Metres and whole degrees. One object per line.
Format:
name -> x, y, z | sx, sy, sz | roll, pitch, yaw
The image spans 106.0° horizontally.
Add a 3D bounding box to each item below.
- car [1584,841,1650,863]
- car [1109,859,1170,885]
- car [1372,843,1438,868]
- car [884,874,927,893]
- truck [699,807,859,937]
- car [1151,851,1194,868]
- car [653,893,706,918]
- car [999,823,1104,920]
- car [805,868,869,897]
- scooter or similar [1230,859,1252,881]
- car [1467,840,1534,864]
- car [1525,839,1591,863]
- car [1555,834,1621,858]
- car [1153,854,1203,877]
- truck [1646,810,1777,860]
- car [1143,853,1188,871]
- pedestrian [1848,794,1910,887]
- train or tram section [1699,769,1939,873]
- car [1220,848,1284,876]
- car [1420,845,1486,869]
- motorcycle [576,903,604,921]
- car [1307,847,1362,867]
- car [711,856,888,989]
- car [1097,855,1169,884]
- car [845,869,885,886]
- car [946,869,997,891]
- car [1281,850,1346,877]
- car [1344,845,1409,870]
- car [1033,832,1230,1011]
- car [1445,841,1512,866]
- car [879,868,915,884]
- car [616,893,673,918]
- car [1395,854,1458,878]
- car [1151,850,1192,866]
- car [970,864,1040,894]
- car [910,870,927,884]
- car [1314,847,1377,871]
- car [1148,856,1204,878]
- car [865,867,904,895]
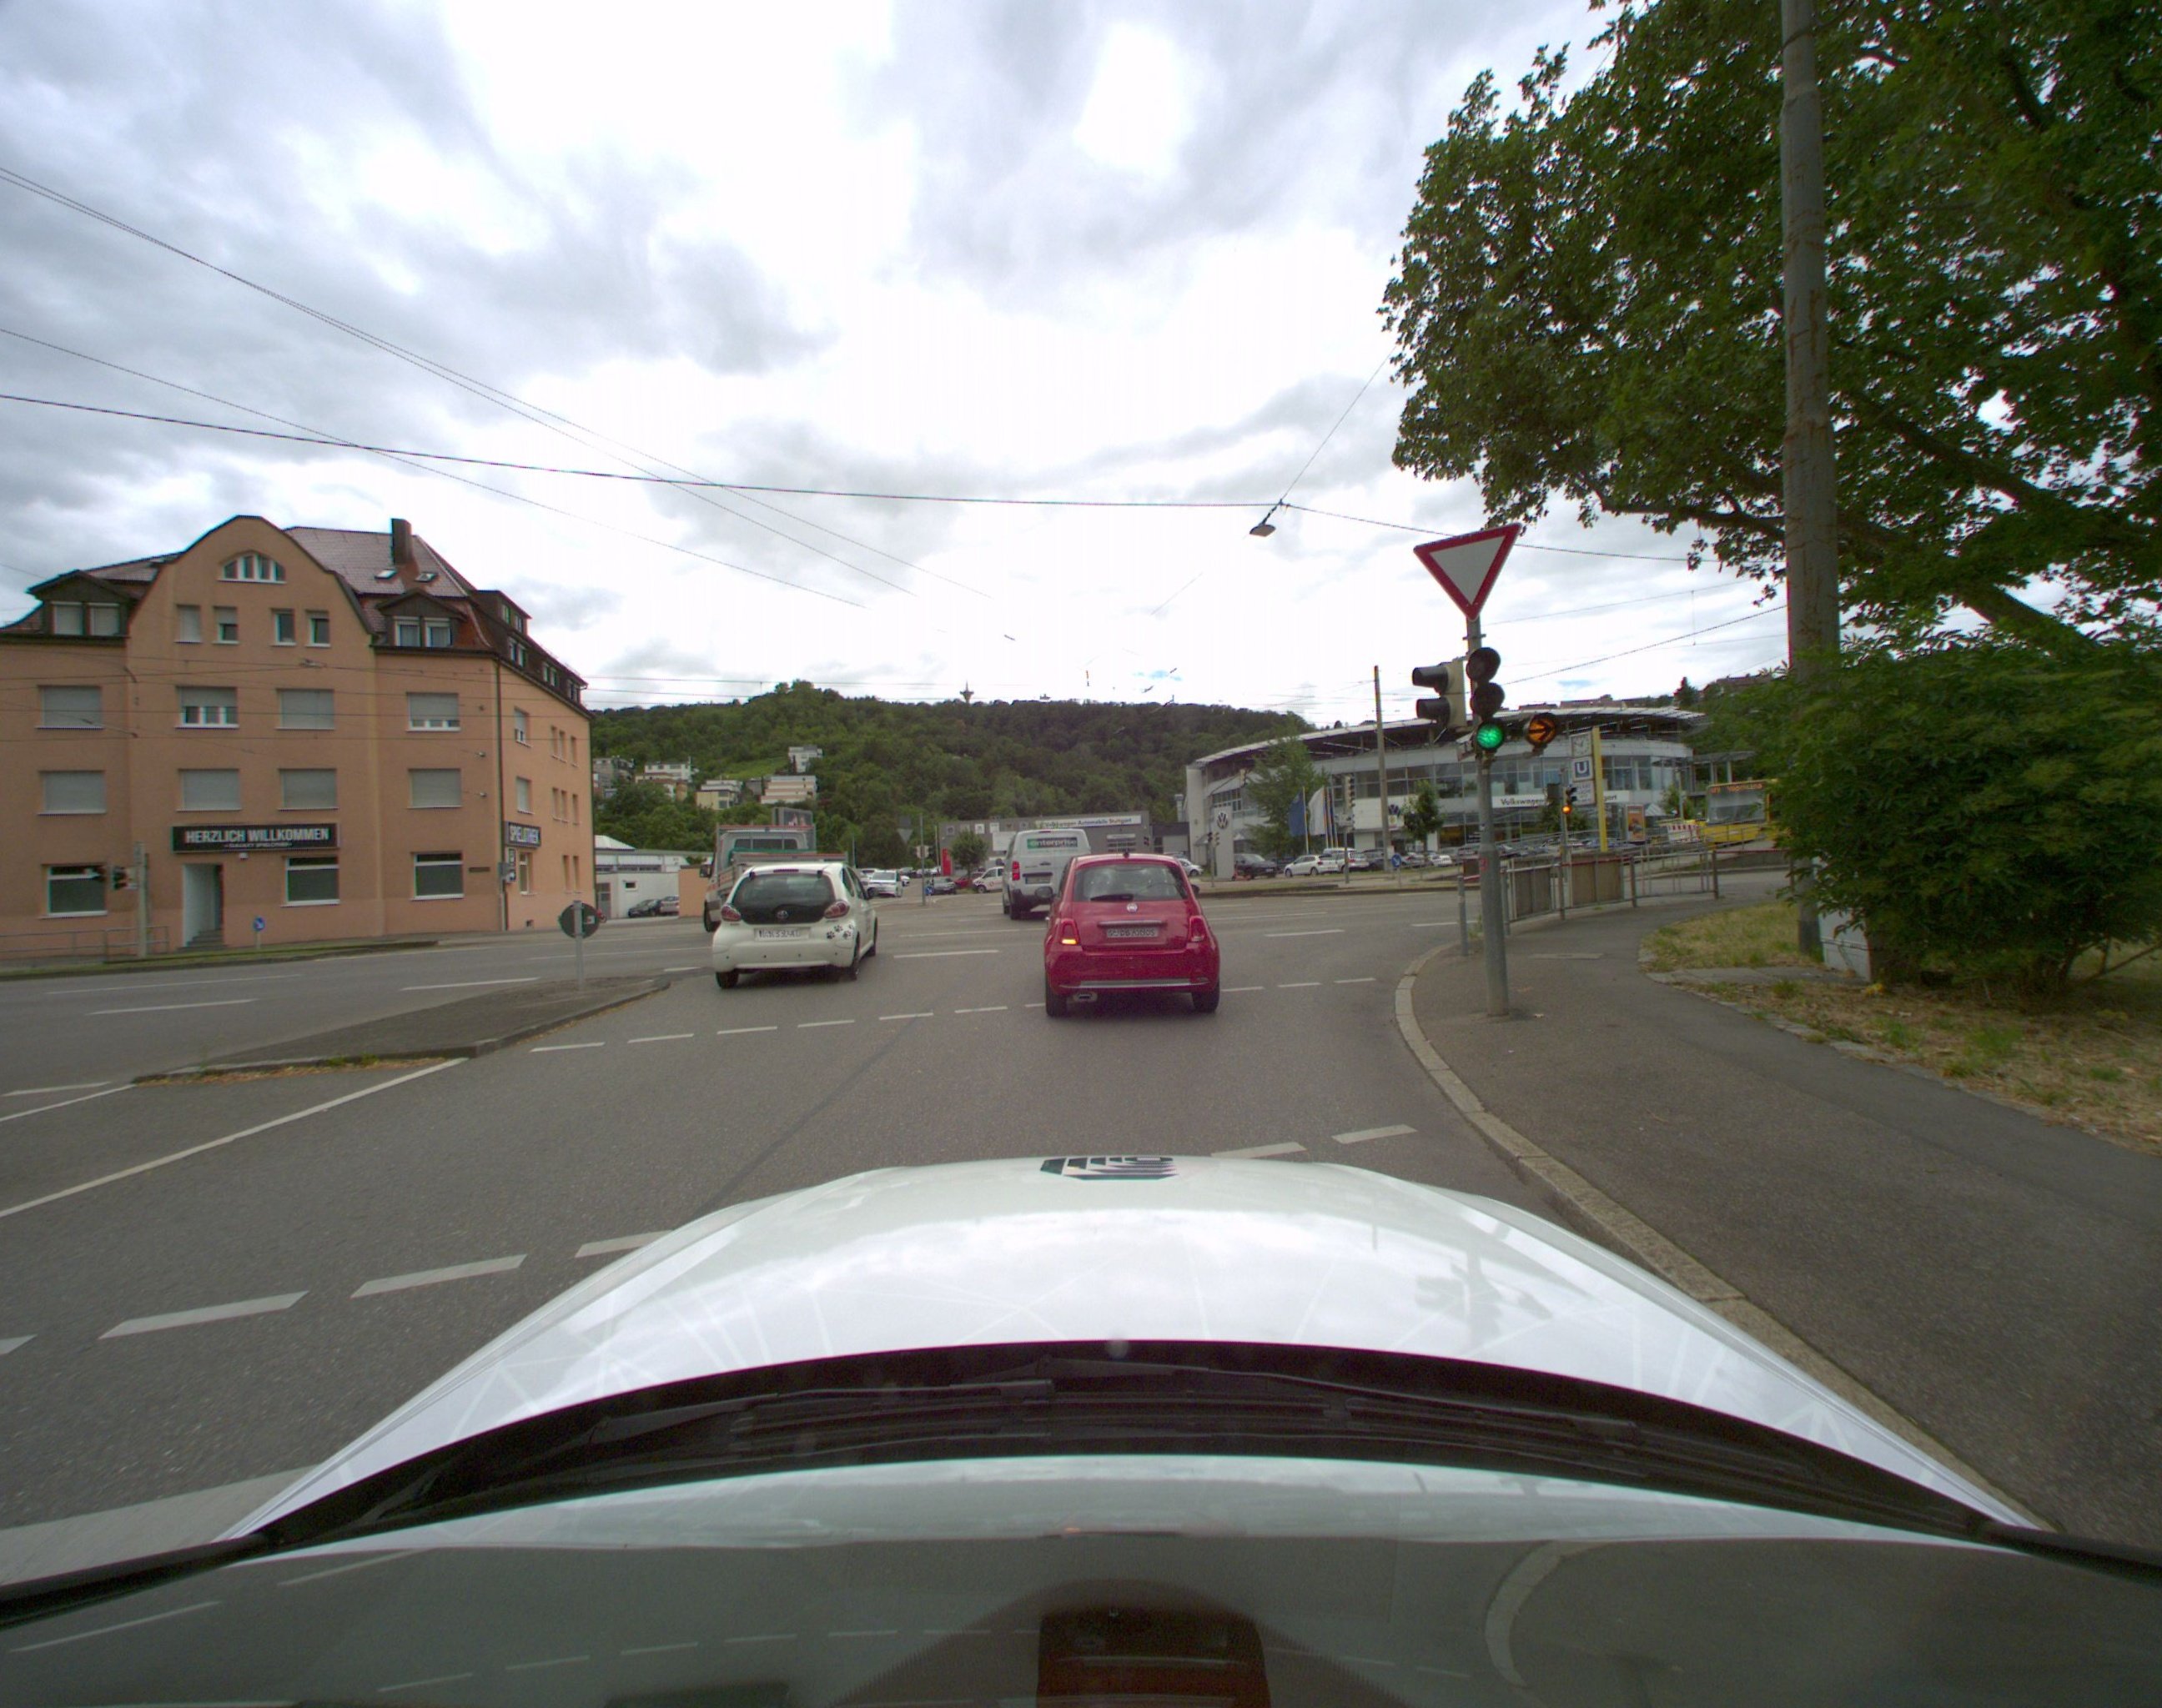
car -> 41.213, -0.134, 62.747 | 1.925, 1.554, 3.976 | 1, -2, -17
car -> 4.063, 1.273, 57.172 | 3.984, 1.706, 1.994 | 1, -2, -8
car -> 22.226, 0.161, 56.041 | 1.930, 1.554, 3.966 | 2, -3, -25
car -> -19.051, 3.185, 88.418 | 4.498, 1.997, 1.992 | 1, -3, -12
truck -> -6.910, 0.399, 18.136 | 2.329, 2.422, 5.598 | -1, -1, -31
car -> 9.806, 0.638, 87.634 | 4.480, 1.729, 2.000 | 1, -2, 0
car -> -31.454, 4.005, 63.967 | 1.988, 1.839, 4.506 | 1, -2, -2
car -> -0.854, 0.459, 19.693 | 1.998, 2.041, 4.815 | 0, -2, -9
car -> -19.085, 2.246, 63.698 | 4.514, 2.243, 1.985 | 2, -3, -23
scooter or similar -> 9.628, 0.970, 49.144 | 1.198, 1.288, 0.575 | 1, -3, -3
car -> 30.812, -0.142, 59.906 | 1.931, 1.554, 3.966 | -3, 0, -25
car -> 35.915, -0.230, 61.395 | 1.926, 1.554, 3.976 | -3, -1, -17
car -> 38.644, -0.584, 62.162 | 1.925, 1.554, 3.976 | 1, -2, -17
car -> 9.109, 1.098, 76.519 | 4.479, 1.997, 2.000 | 1, -2, 1
truck -> 43.601, -1.328, 56.298 | 9.008, 3.078, 2.685 | -2, -1, -20
car -> 8.631, 0.819, 83.306 | 4.480, 1.729, 2.000 | 1, -2, 0
pedestrian -> 16.263, -0.269, 16.596 | 0.672, 1.867, 0.600 | -1, -2, -20
train or tram section -> 32.670, -1.520, 35.883 | 11.920, 3.966, 2.729 | -3, -1, -22
car -> 10.914, 0.555, 52.189 | 2.004, 1.640, 3.966 | -1, -1, -25
car -> 26.459, 0.245, 58.038 | 1.930, 1.554, 3.966 | 2, -3, -25
motorcycle -> -28.290, 3.328, 46.900 | 1.688, 0.984, 0.532 | -1, -3, 27
car -> 20.946, 0.261, 67.415 | 1.935, 1.554, 3.958 | 2, -3, -34
car -> -3.599, 0.777, 10.974 | 1.593, 1.420, 3.363 | -3, 0, -9
car -> 3.133, 0.906, 48.610 | 3.957, 1.639, 2.009 | 0, 2, 15
car -> -26.439, 2.902, 99.815 | 4.488, 1.997, 1.996 | 1, -2, -5
car -> -10.217, 2.475, 76.371 | 4.479, 1.997, 2.000 | 1, -2, 1
car -> 15.207, 0.632, 53.495 | 2.003, 1.640, 3.966 | 2, -3, -25
car -> 19.965, 0.251, 55.135 | 1.930, 1.554, 3.966 | 2, -3, -25
car -> 0.562, 0.619, 9.072 | 1.690, 1.525, 4.003 | 1, -1, 3
car -> 28.655, -0.021, 58.793 | 1.931, 1.554, 3.966 | -3, -1, -25
car -> -24.864, 3.000, 110.075 | 4.488, 1.997, 1.996 | 1, -2, -5
car -> -33.991, 3.963, 63.597 | 1.988, 1.839, 4.507 | 1, -2, -1
car -> 24.284, 0.869, 57.390 | 1.732, 1.554, 3.966 | 2, -3, -25
car -> 10.261, 0.483, 92.809 | 4.480, 1.729, 2.000 | 1, -2, 0
car -> -5.846, 1.971, 63.182 | 4.976, 2.014, 2.003 | -4, -3, 6
car -> -23.816, 3.390, 119.526 | 1.992, 1.997, 4.498 | 1, -2, -7
car -> 17.566, 0.348, 54.291 | 1.817, 1.477, 3.966 | 2, -3, -25
car -> 7.907, 1.111, 68.251 | 4.480, 1.729, 2.000 | 1, -2, 0
car -> -13.456, 1.878, 55.962 | 2.075, 1.853, 4.893 | 1, -2, -8
